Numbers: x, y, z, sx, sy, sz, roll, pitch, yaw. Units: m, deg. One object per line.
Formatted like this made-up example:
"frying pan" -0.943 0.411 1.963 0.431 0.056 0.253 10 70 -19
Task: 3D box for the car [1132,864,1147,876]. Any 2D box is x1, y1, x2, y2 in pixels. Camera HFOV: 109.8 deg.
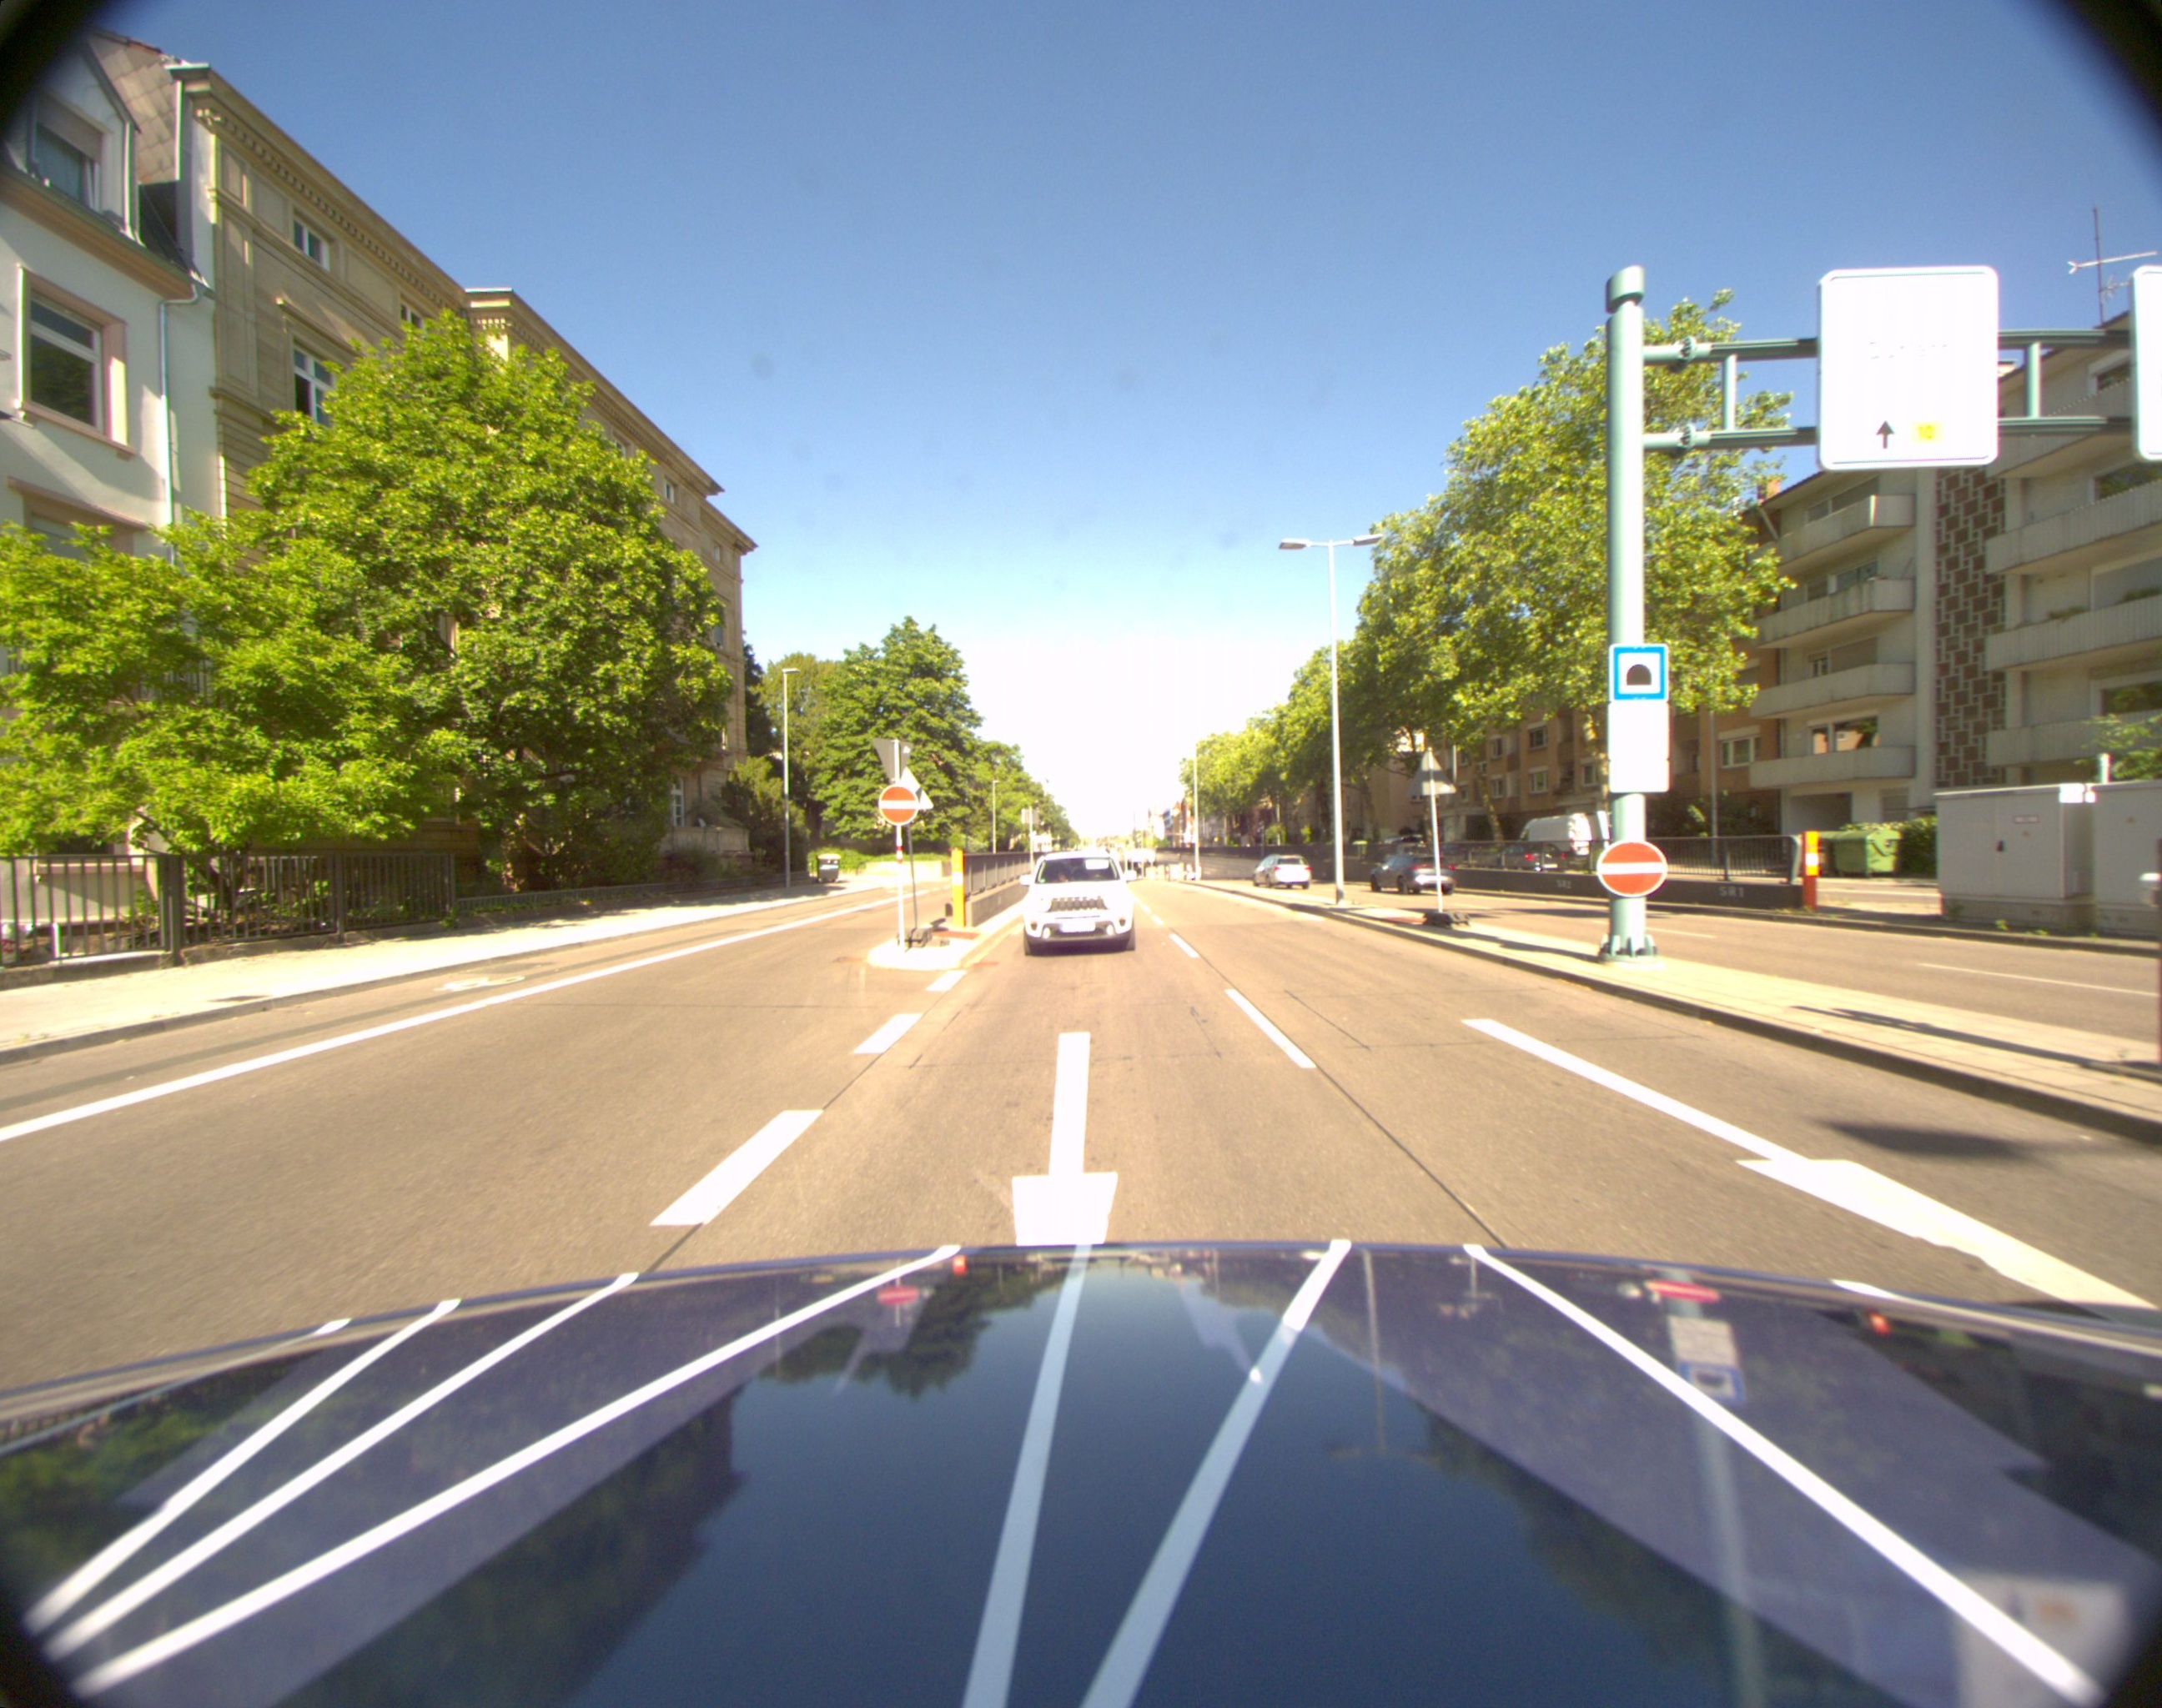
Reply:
"car" 11.057 3.047 144.256 2.449 2.074 5.638 -2 1 2

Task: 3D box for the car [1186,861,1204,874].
"car" 13.658 1.592 91.018 1.662 1.465 3.297 -2 0 1

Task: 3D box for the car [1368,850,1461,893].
"car" 12.178 0.581 28.073 1.611 1.432 4.311 1 0 1

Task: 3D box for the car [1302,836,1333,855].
"car" 24.050 -0.870 77.299 1.998 1.839 4.000 0 0 1

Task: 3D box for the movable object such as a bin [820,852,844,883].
"movable object such as a bin" -11.553 0.605 35.191 0.975 1.390 1.285 0 0 -21

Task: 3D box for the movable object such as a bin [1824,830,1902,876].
"movable object such as a bin" 23.694 -0.017 23.066 0.895 1.352 1.474 0 0 3

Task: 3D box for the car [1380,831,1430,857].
"car" 23.483 -0.712 55.232 1.998 1.742 4.001 -2 0 2

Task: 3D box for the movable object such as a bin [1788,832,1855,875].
"movable object such as a bin" 23.800 -0.017 24.456 0.895 1.354 1.315 0 0 1

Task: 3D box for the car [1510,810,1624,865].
"car" 23.031 -0.709 36.336 2.250 2.431 5.288 0 0 3

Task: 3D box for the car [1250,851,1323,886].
"car" 9.136 0.652 34.196 1.999 1.444 4.618 1 -1 -1

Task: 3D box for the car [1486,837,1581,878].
"car" 18.213 0.187 30.785 1.632 1.429 3.692 -3 -3 1

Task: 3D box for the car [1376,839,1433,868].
"car" 18.353 -0.036 43.270 1.632 1.478 3.689 -4 1 1

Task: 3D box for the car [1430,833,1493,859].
"car" 23.362 -0.458 46.848 1.998 1.570 4.001 0 0 2

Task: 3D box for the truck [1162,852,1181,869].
"truck" 13.110 0.993 110.314 2.285 2.380 5.368 0 0 2

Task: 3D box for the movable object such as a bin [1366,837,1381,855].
"movable object such as a bin" 27.412 -0.755 71.258 0.885 1.632 1.253 0 0 1
